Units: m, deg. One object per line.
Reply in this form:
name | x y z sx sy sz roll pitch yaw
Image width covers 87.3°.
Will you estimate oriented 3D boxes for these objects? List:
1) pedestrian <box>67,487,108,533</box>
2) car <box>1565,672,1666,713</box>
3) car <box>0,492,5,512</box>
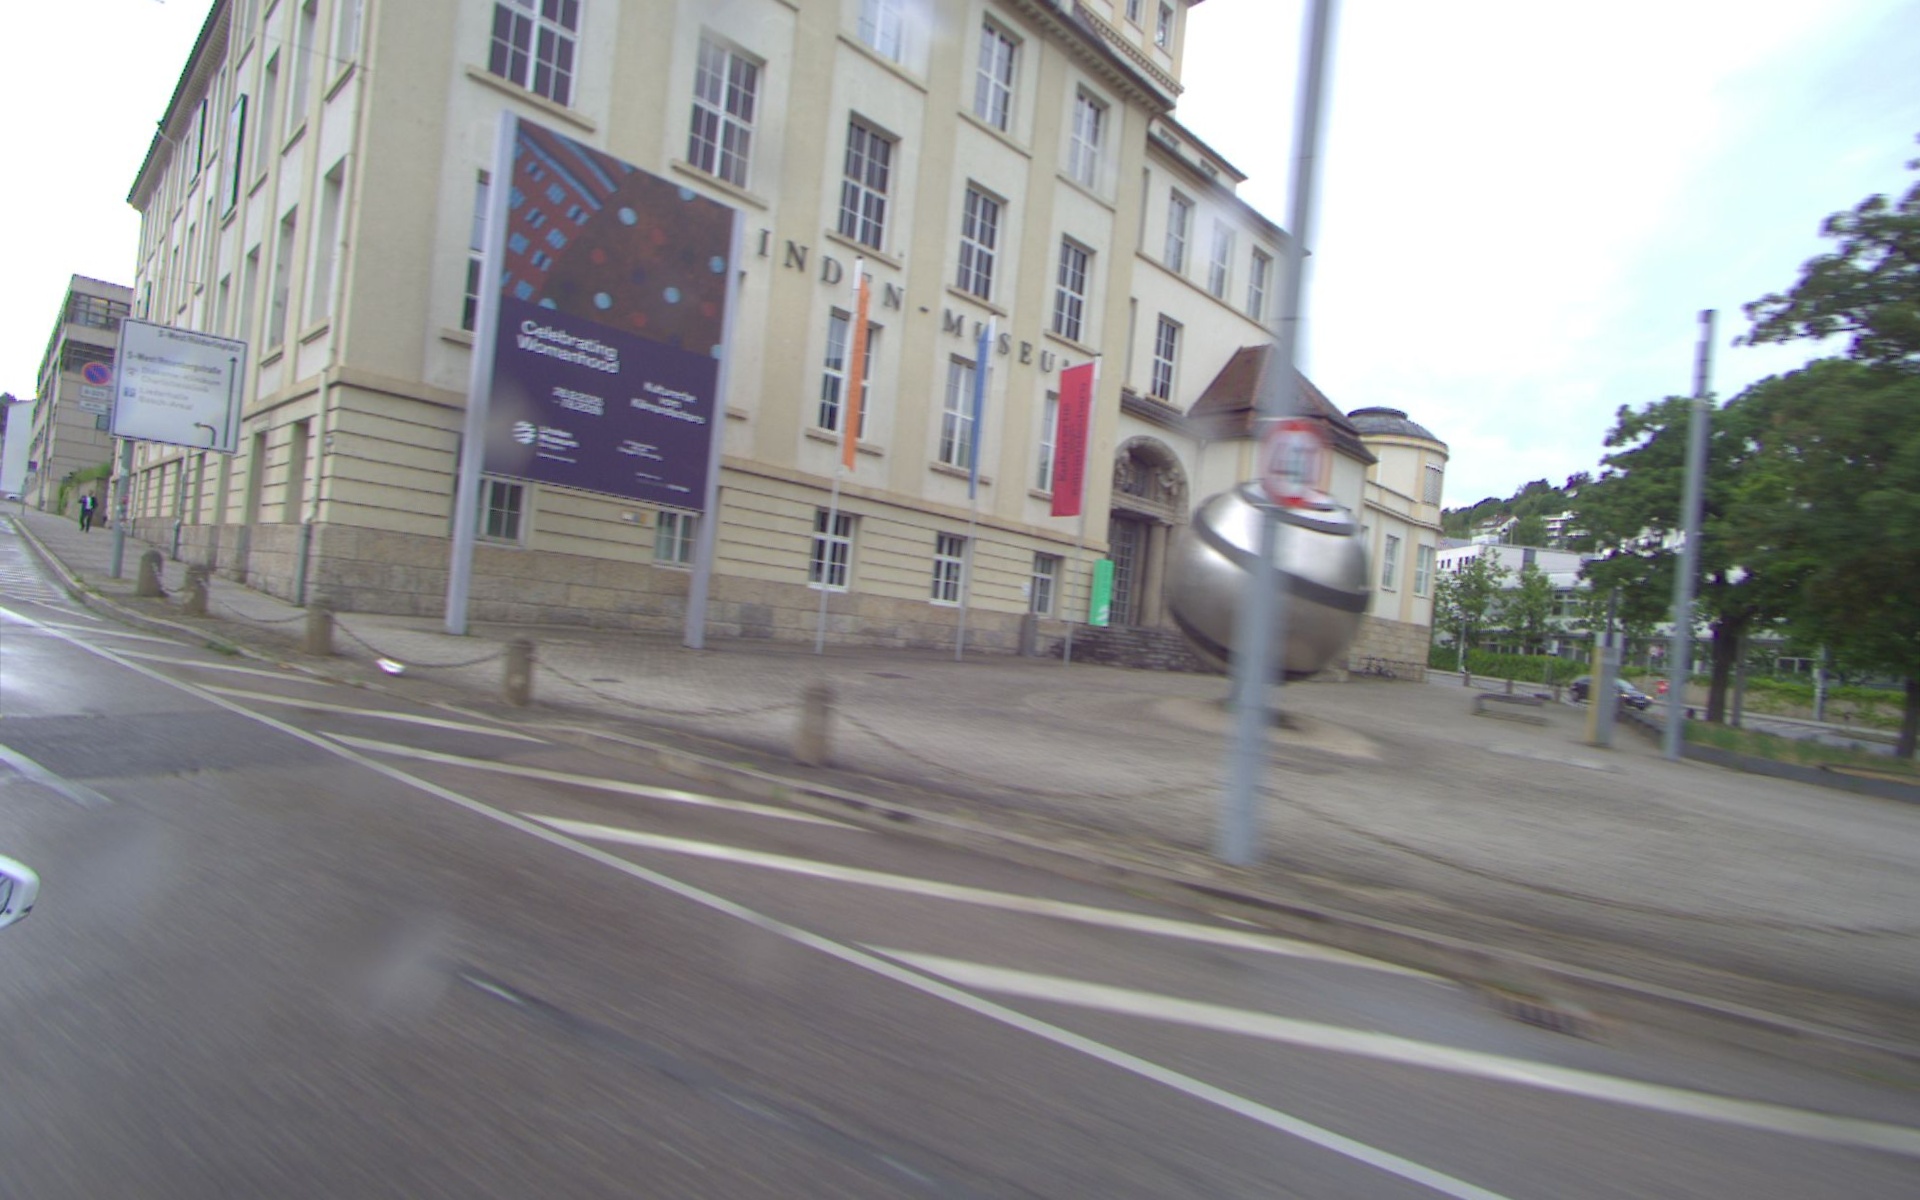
pedestrian | -37.388 -3.841 43.107 1.234 1.812 1.576 4 2 -41
car | 31.553 4.418 48.587 1.764 1.459 3.994 6 -1 -9
car | -88.037 -9.043 91.287 1.834 1.579 3.950 8 0 -43
